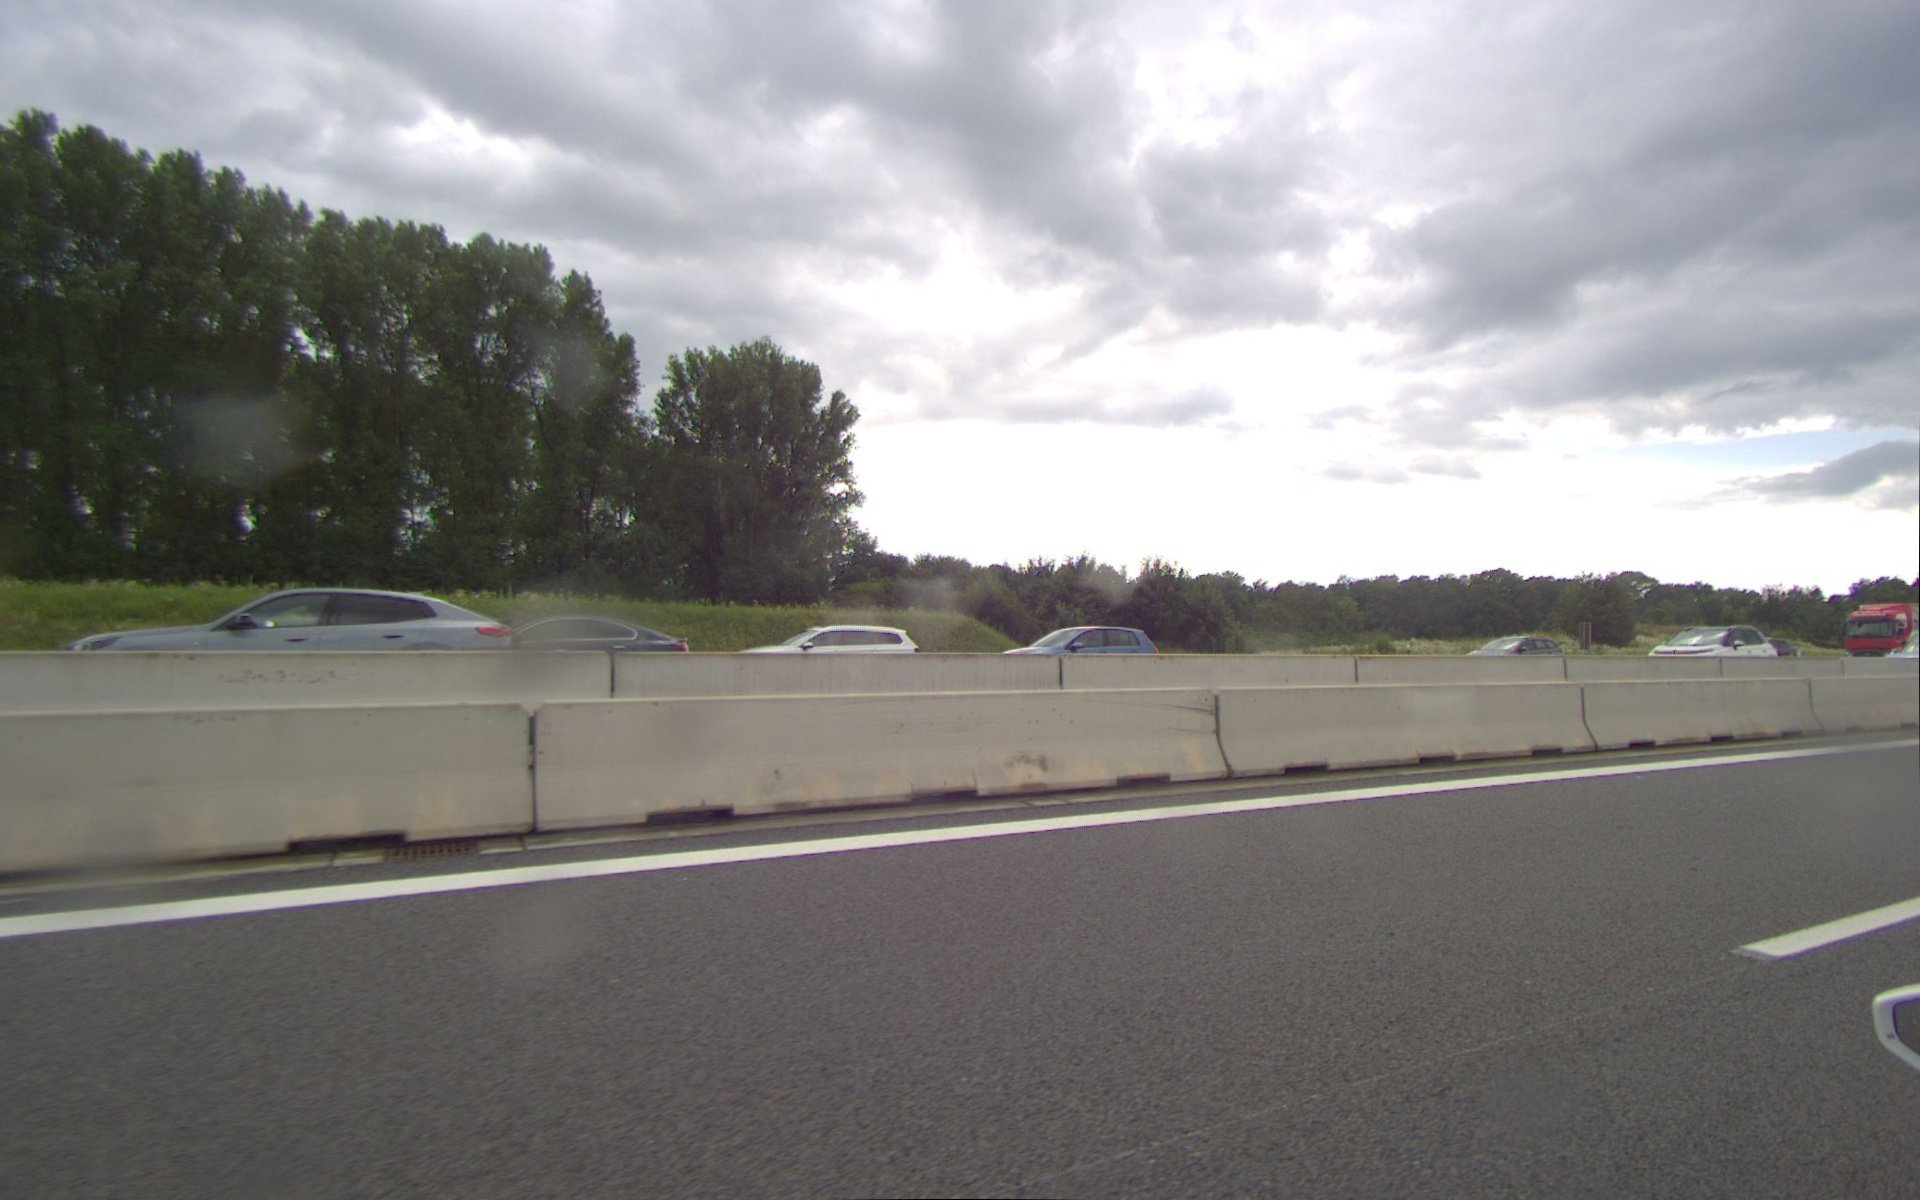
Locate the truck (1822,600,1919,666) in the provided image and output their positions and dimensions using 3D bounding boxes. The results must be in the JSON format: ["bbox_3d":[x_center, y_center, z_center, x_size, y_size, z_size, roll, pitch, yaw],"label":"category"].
[{"bbox_3d":[55.396,1.988,60.541,6.239,3.761,3.138,2,-1,-28],"label":"truck"}]

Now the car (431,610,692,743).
[{"bbox_3d":[-6.845,1.246,17.336,3.953,2.040,1.796,2,-1,-30],"label":"car"}]

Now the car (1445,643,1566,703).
[{"bbox_3d":[20.316,2.661,37.378,4.175,2.040,1.985,2,-1,-28],"label":"car"}]

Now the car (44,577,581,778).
[{"bbox_3d":[-7.529,0.857,12.346,5.120,2.040,1.984,2,-1,-30],"label":"car"}]

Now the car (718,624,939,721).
[{"bbox_3d":[-3.066,1.639,23.671,4.751,2.040,1.984,2,-1,-30],"label":"car"}]

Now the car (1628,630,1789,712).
[{"bbox_3d":[20.571,1.906,27.606,4.213,2.040,1.985,2,-1,-29],"label":"car"}]

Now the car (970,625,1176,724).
[{"bbox_3d":[2.624,1.644,23.057,4.483,2.040,1.841,2,-1,-30],"label":"car"}]

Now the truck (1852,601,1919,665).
[{"bbox_3d":[61.867,2.168,64.097,13.135,3.795,3.135,2,-1,-29],"label":"truck"}]
